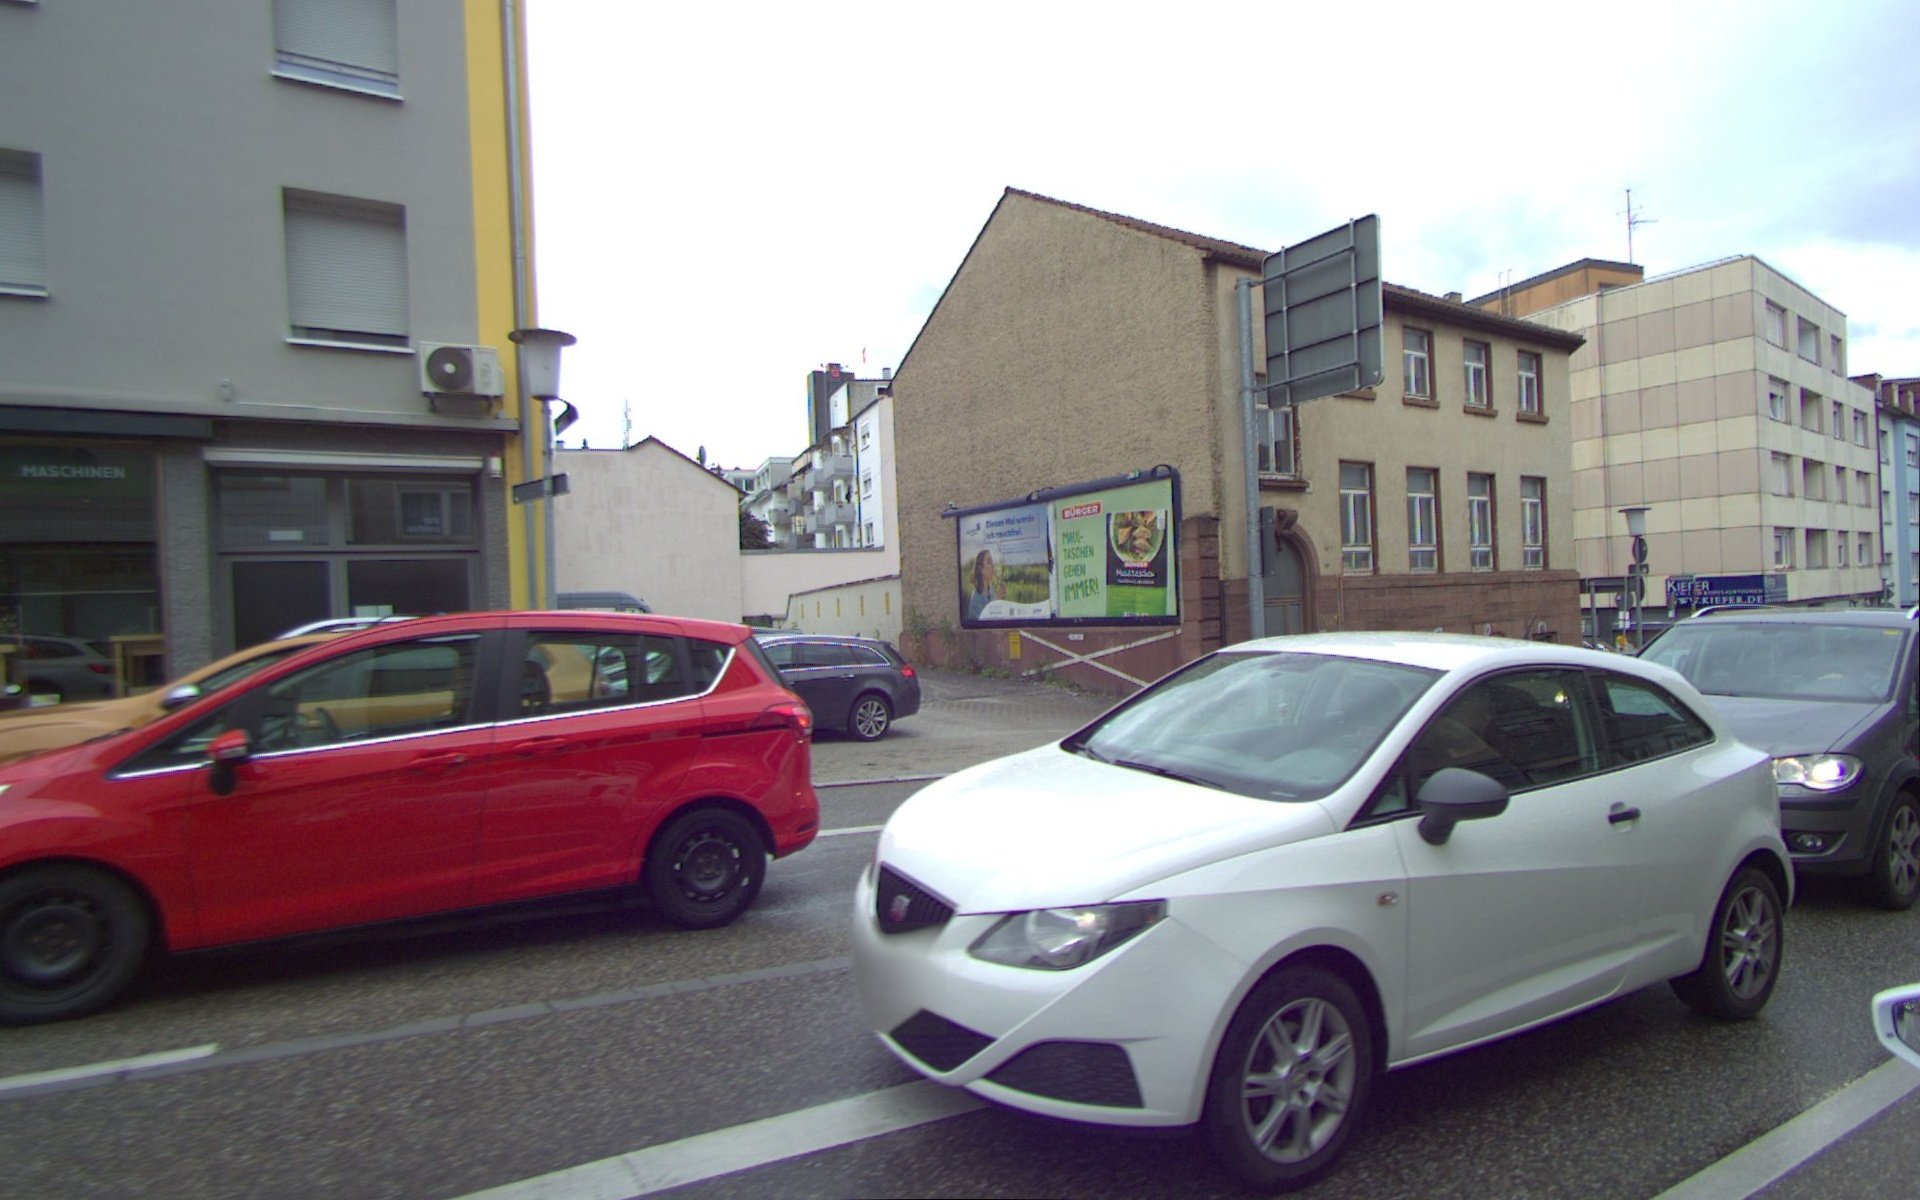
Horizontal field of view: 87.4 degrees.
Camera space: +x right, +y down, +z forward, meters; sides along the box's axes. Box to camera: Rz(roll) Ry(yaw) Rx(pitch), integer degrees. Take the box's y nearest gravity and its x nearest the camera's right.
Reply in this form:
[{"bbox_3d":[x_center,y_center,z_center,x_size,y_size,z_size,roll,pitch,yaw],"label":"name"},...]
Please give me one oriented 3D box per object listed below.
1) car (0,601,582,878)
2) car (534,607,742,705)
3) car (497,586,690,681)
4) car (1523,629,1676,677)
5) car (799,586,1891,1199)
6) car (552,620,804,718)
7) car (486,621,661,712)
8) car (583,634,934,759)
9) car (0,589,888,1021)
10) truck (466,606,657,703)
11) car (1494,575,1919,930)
[{"bbox_3d":[-4.967,0.915,7.352,3.884,1.630,1.648,2,-4,-31],"label":"car"},{"bbox_3d":[-6.243,1.013,19.504,3.523,1.535,1.725,-4,1,-29],"label":"car"},{"bbox_3d":[-11.732,1.009,32.455,5.546,2.593,2.123,-3,1,-21],"label":"car"},{"bbox_3d":[22.876,1.861,36.116,1.873,1.532,4.319,2,-1,-26],"label":"car"},{"bbox_3d":[1.689,0.778,3.915,4.241,1.500,1.690,2,0,-30],"label":"car"},{"bbox_3d":[-4.738,1.100,17.031,3.812,1.483,1.681,1,-1,-32],"label":"car"},{"bbox_3d":[-8.739,1.445,22.754,3.498,1.693,1.669,-4,1,-25],"label":"car"},{"bbox_3d":[-2.743,1.247,14.255,4.619,1.474,1.679,1,-1,-36],"label":"car"},{"bbox_3d":[-2.569,0.825,5.094,4.081,1.535,1.733,2,-4,-30],"label":"car"},{"bbox_3d":[-9.872,1.284,24.960,4.172,1.998,1.709,-4,1,-28],"label":"truck"},{"bbox_3d":[5.811,0.801,6.854,4.511,1.727,1.797,2,0,-32],"label":"car"}]
